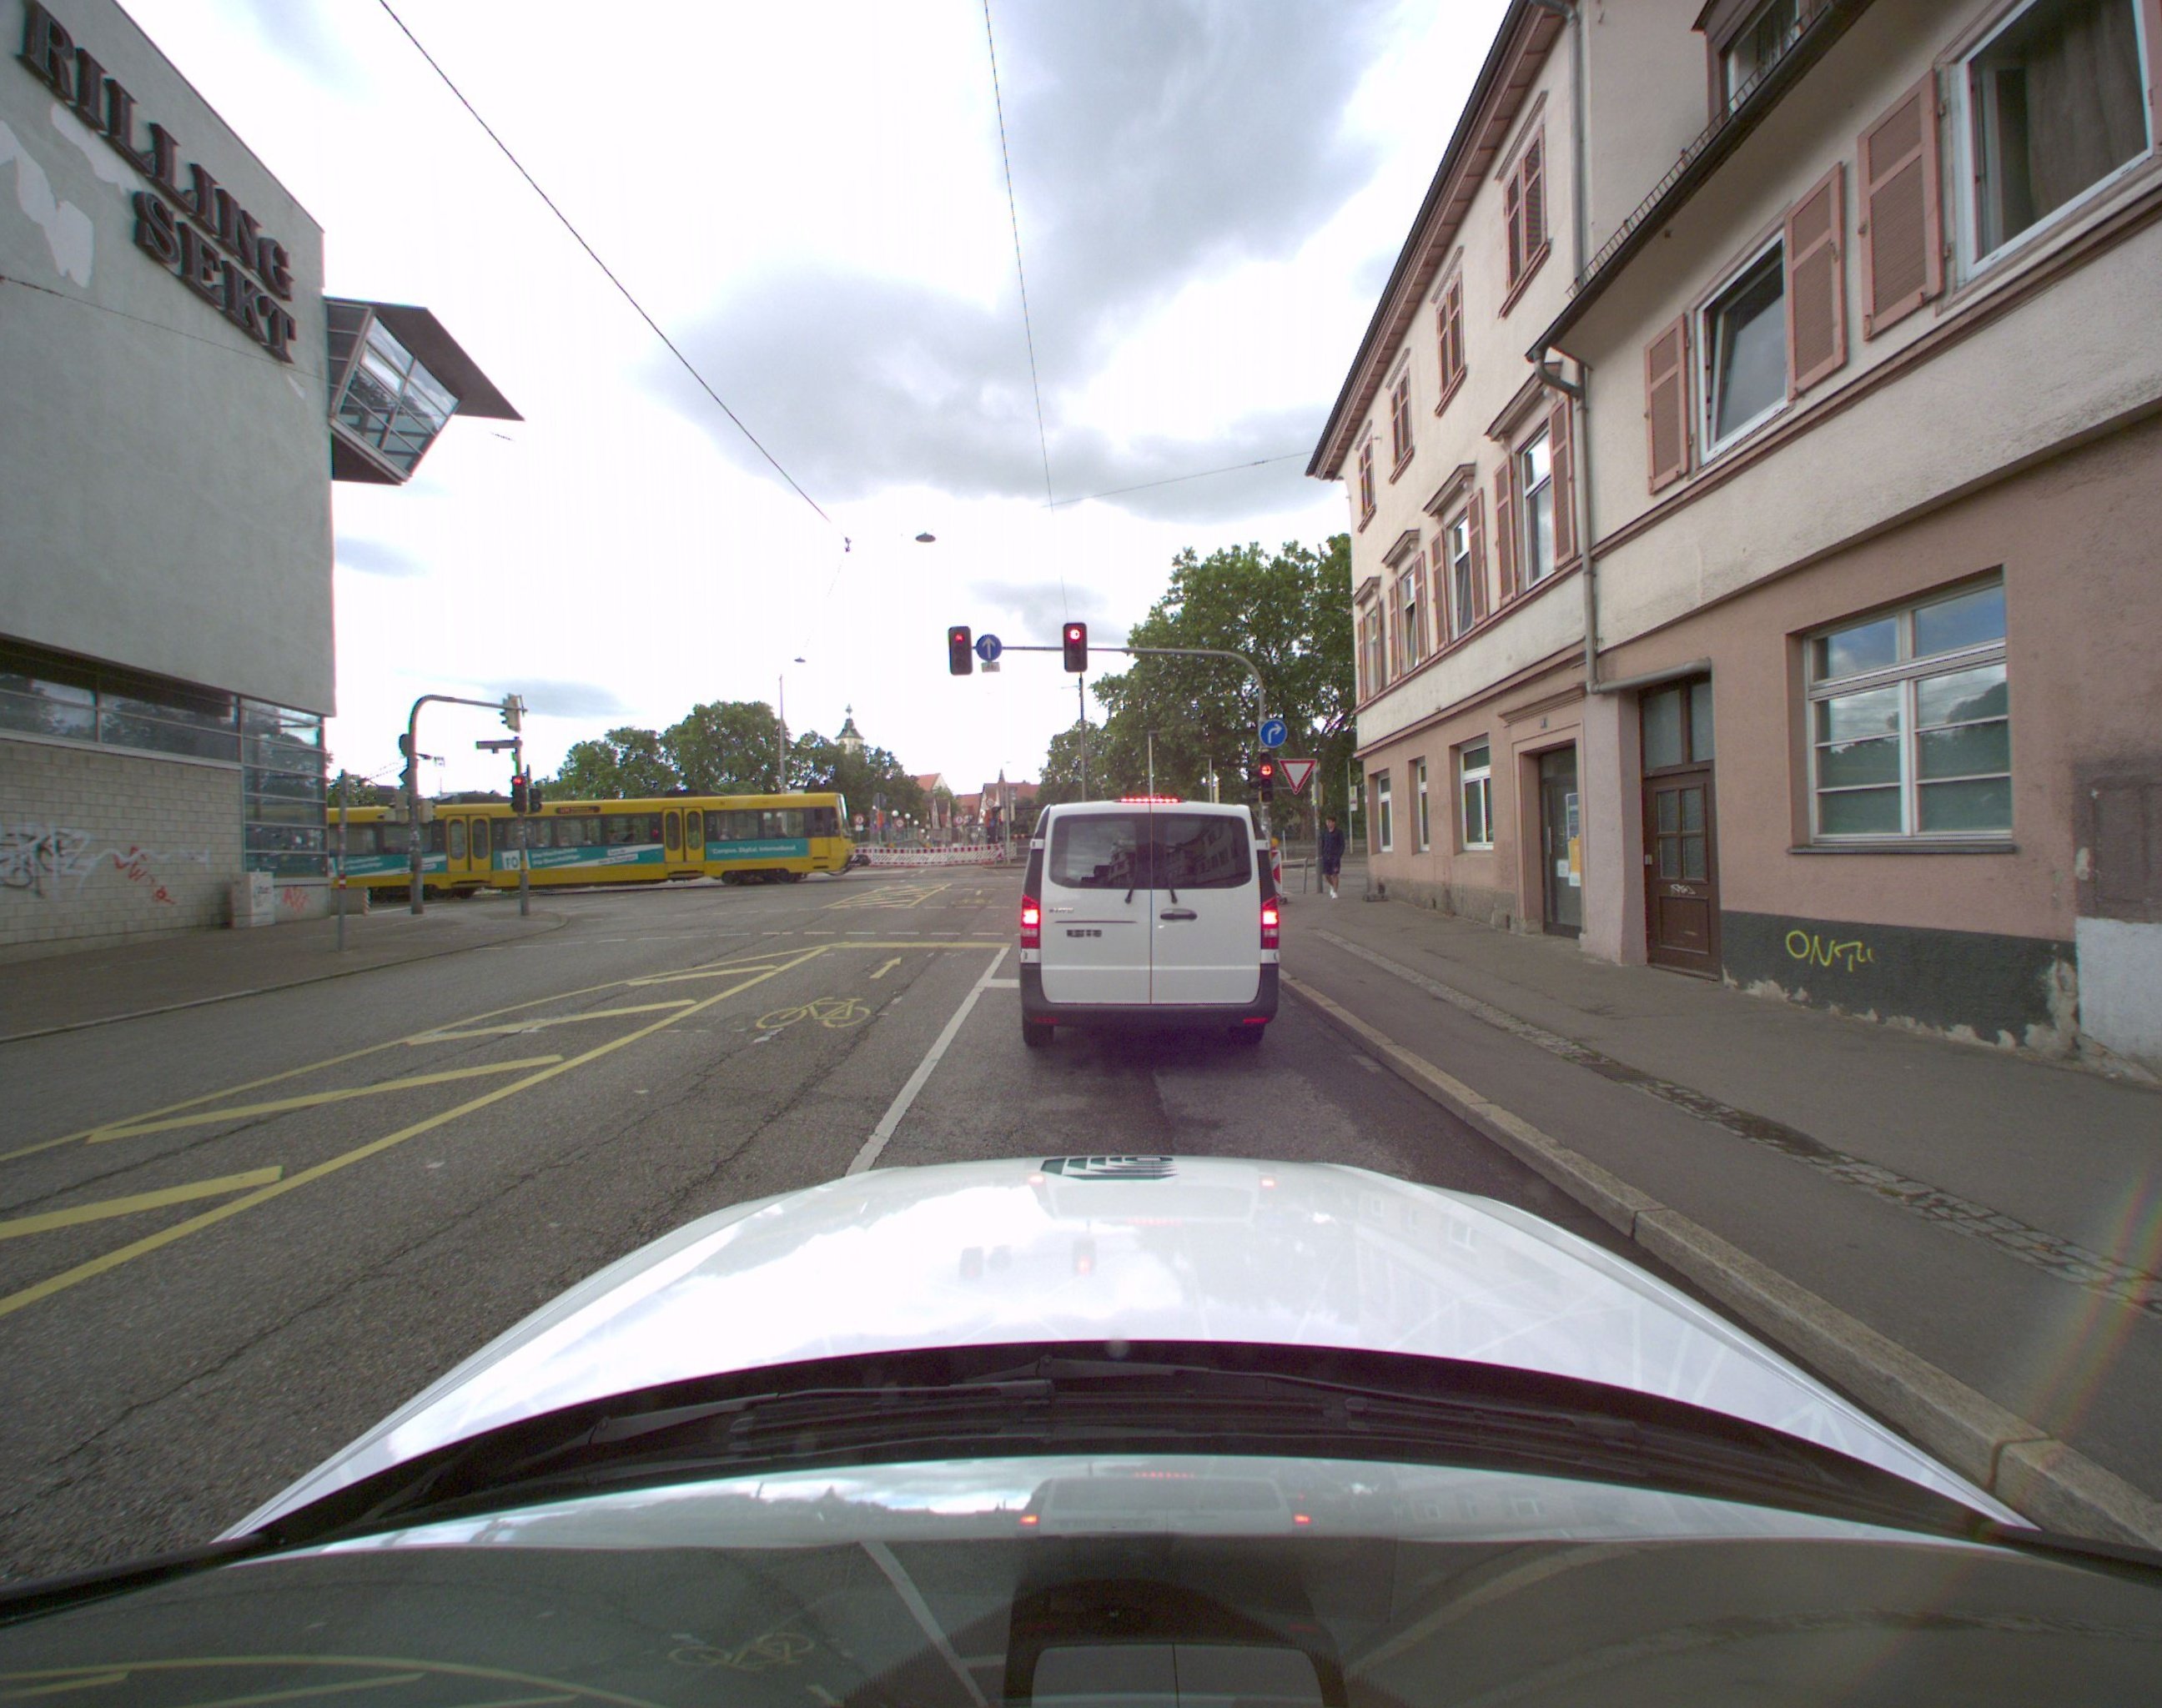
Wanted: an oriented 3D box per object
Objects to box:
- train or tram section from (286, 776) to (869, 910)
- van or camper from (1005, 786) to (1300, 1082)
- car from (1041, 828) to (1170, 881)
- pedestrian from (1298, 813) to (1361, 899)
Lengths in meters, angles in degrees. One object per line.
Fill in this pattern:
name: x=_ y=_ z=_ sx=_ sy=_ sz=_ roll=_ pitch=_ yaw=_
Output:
train or tram section: x=-18.051 y=-0.595 z=31.196 sx=18.776 sy=4.002 sz=3.254 roll=-3 pitch=3 yaw=-11
van or camper: x=0.433 y=0.452 z=7.545 sx=1.932 sy=1.924 sz=4.439 roll=0 pitch=2 yaw=-1
car: x=0.813 y=-0.021 z=28.124 sx=4.260 sy=1.574 sz=1.871 roll=-3 pitch=2 yaw=-1
pedestrian: x=5.630 y=0.029 z=18.467 sx=1.156 sy=1.856 sz=0.673 roll=-3 pitch=1 yaw=-28
